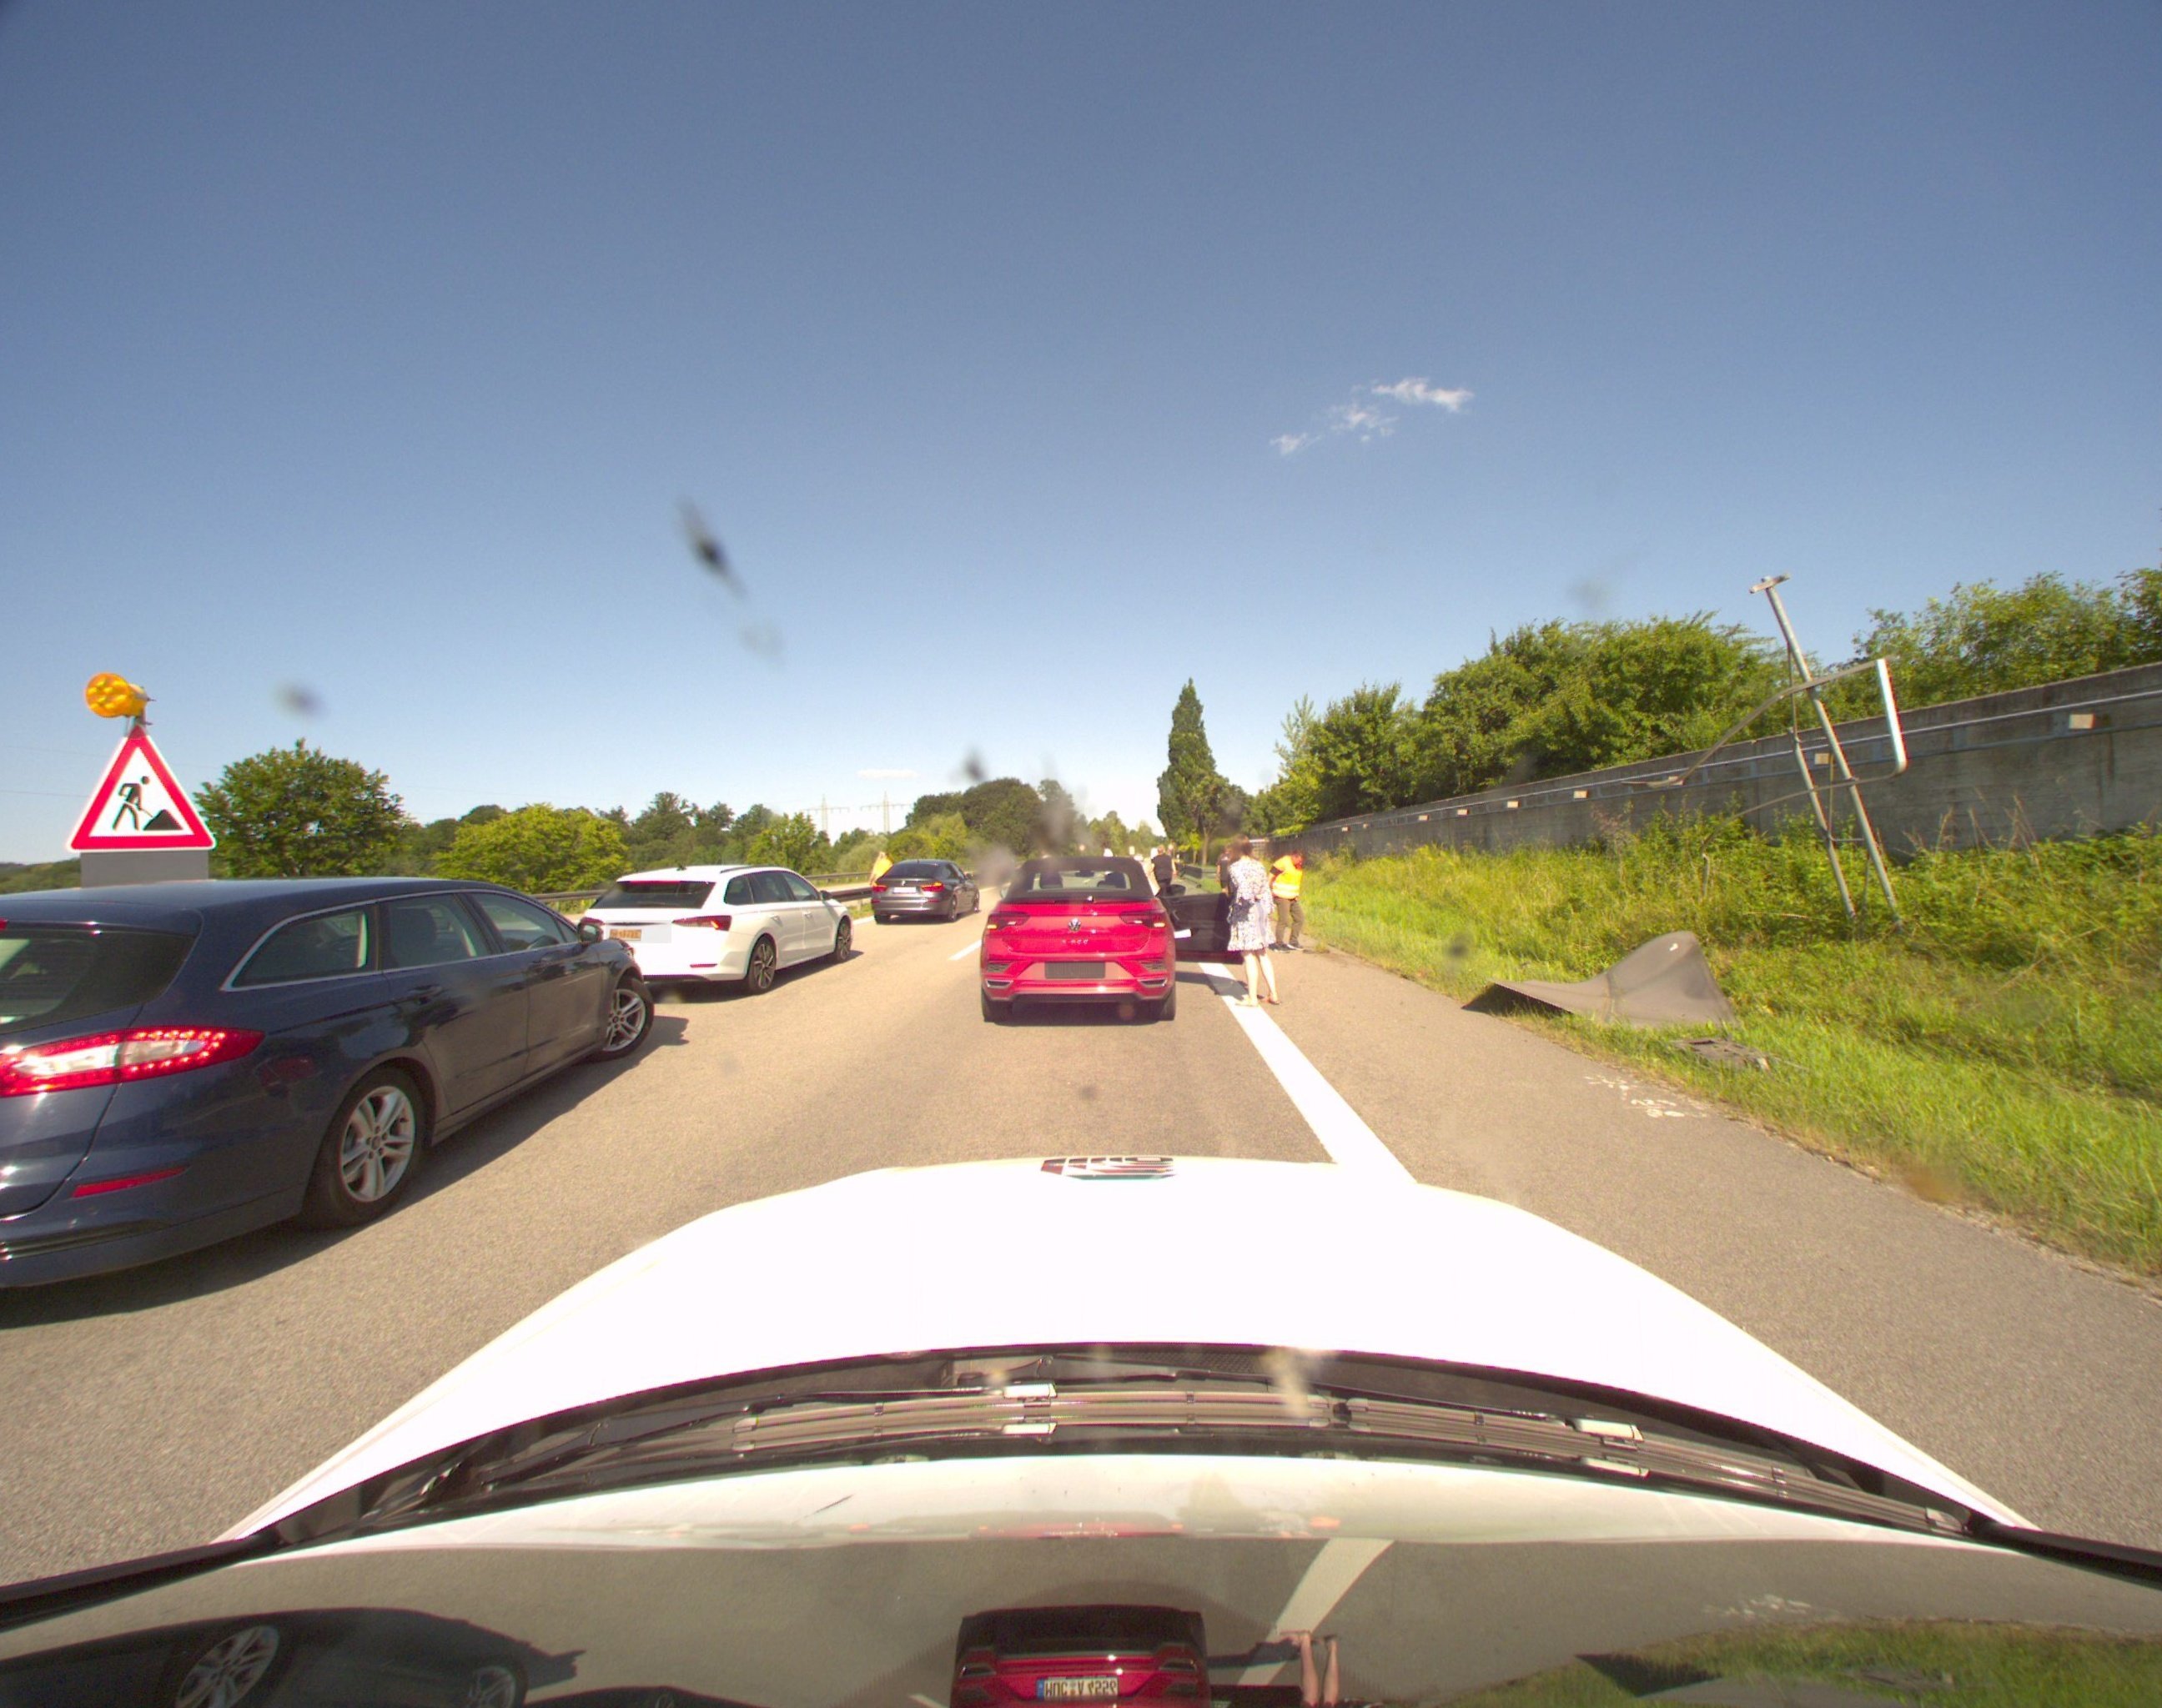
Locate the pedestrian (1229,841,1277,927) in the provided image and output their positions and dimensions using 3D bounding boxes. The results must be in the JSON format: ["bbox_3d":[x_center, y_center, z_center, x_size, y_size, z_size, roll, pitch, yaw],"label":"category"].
[{"bbox_3d":[3.542,0.604,16.701,0.888,1.725,0.757,-1,-1,16],"label":"pedestrian"}]

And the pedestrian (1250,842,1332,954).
[{"bbox_3d":[3.279,0.660,12.840,0.954,1.653,1.279,-2,0,2],"label":"pedestrian"}]

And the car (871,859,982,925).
[{"bbox_3d":[-3.675,0.851,20.126,1.688,1.426,4.337,-1,0,3],"label":"car"}]

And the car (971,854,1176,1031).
[{"bbox_3d":[0.036,0.750,8.988,1.725,1.487,4.213,-1,0,3],"label":"car"}]

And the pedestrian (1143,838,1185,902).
[{"bbox_3d":[2.531,0.488,25.041,1.087,1.883,1.068,-2,0,-3],"label":"pedestrian"}]

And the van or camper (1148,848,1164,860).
[{"bbox_3d":[14.843,-0.017,160.955,1.977,2.316,4.491,-1,-1,19],"label":"van or camper"}]

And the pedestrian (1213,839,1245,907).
[{"bbox_3d":[3.952,0.502,21.813,0.807,1.759,0.830,0,-1,9],"label":"pedestrian"}]

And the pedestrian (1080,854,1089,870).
[{"bbox_3d":[0.395,0.825,87.120,0.787,1.689,0.794,0,-1,7],"label":"pedestrian"}]

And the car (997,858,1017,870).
[{"bbox_3d":[-8.739,1.152,96.711,1.705,1.425,4.410,-1,0,3],"label":"car"}]

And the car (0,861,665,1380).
[{"bbox_3d":[-4.031,0.816,4.490,1.788,1.493,4.478,-2,0,-10],"label":"car"}]

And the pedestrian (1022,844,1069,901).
[{"bbox_3d":[-1.146,0.598,26.562,1.093,1.789,1.098,-1,-1,28],"label":"pedestrian"}]

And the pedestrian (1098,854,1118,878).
[{"bbox_3d":[1.967,0.862,59.520,1.119,1.689,0.965,0,-1,-25],"label":"pedestrian"}]

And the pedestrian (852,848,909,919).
[{"bbox_3d":[-5.181,0.738,21.112,1.035,1.763,1.120,-2,0,5],"label":"pedestrian"}]

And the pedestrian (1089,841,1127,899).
[{"bbox_3d":[0.912,0.533,27.708,1.104,1.912,1.255,-2,0,-5],"label":"pedestrian"}]

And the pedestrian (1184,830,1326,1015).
[{"bbox_3d":[1.732,0.638,8.252,0.893,1.695,1.121,-2,0,-20],"label":"pedestrian"}]

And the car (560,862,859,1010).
[{"bbox_3d":[-4.334,0.854,10.343,1.688,1.441,4.213,-1,0,3],"label":"car"}]

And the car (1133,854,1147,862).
[{"bbox_3d":[11.807,0.831,162.116,1.718,1.487,4.231,-1,0,19],"label":"car"}]

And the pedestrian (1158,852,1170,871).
[{"bbox_3d":[7.424,0.660,72.739,0.991,1.689,1.012,0,-1,6],"label":"pedestrian"}]

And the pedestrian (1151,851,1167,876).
[{"bbox_3d":[5.343,0.674,55.753,1.049,1.689,1.020,-1,-1,9],"label":"pedestrian"}]
